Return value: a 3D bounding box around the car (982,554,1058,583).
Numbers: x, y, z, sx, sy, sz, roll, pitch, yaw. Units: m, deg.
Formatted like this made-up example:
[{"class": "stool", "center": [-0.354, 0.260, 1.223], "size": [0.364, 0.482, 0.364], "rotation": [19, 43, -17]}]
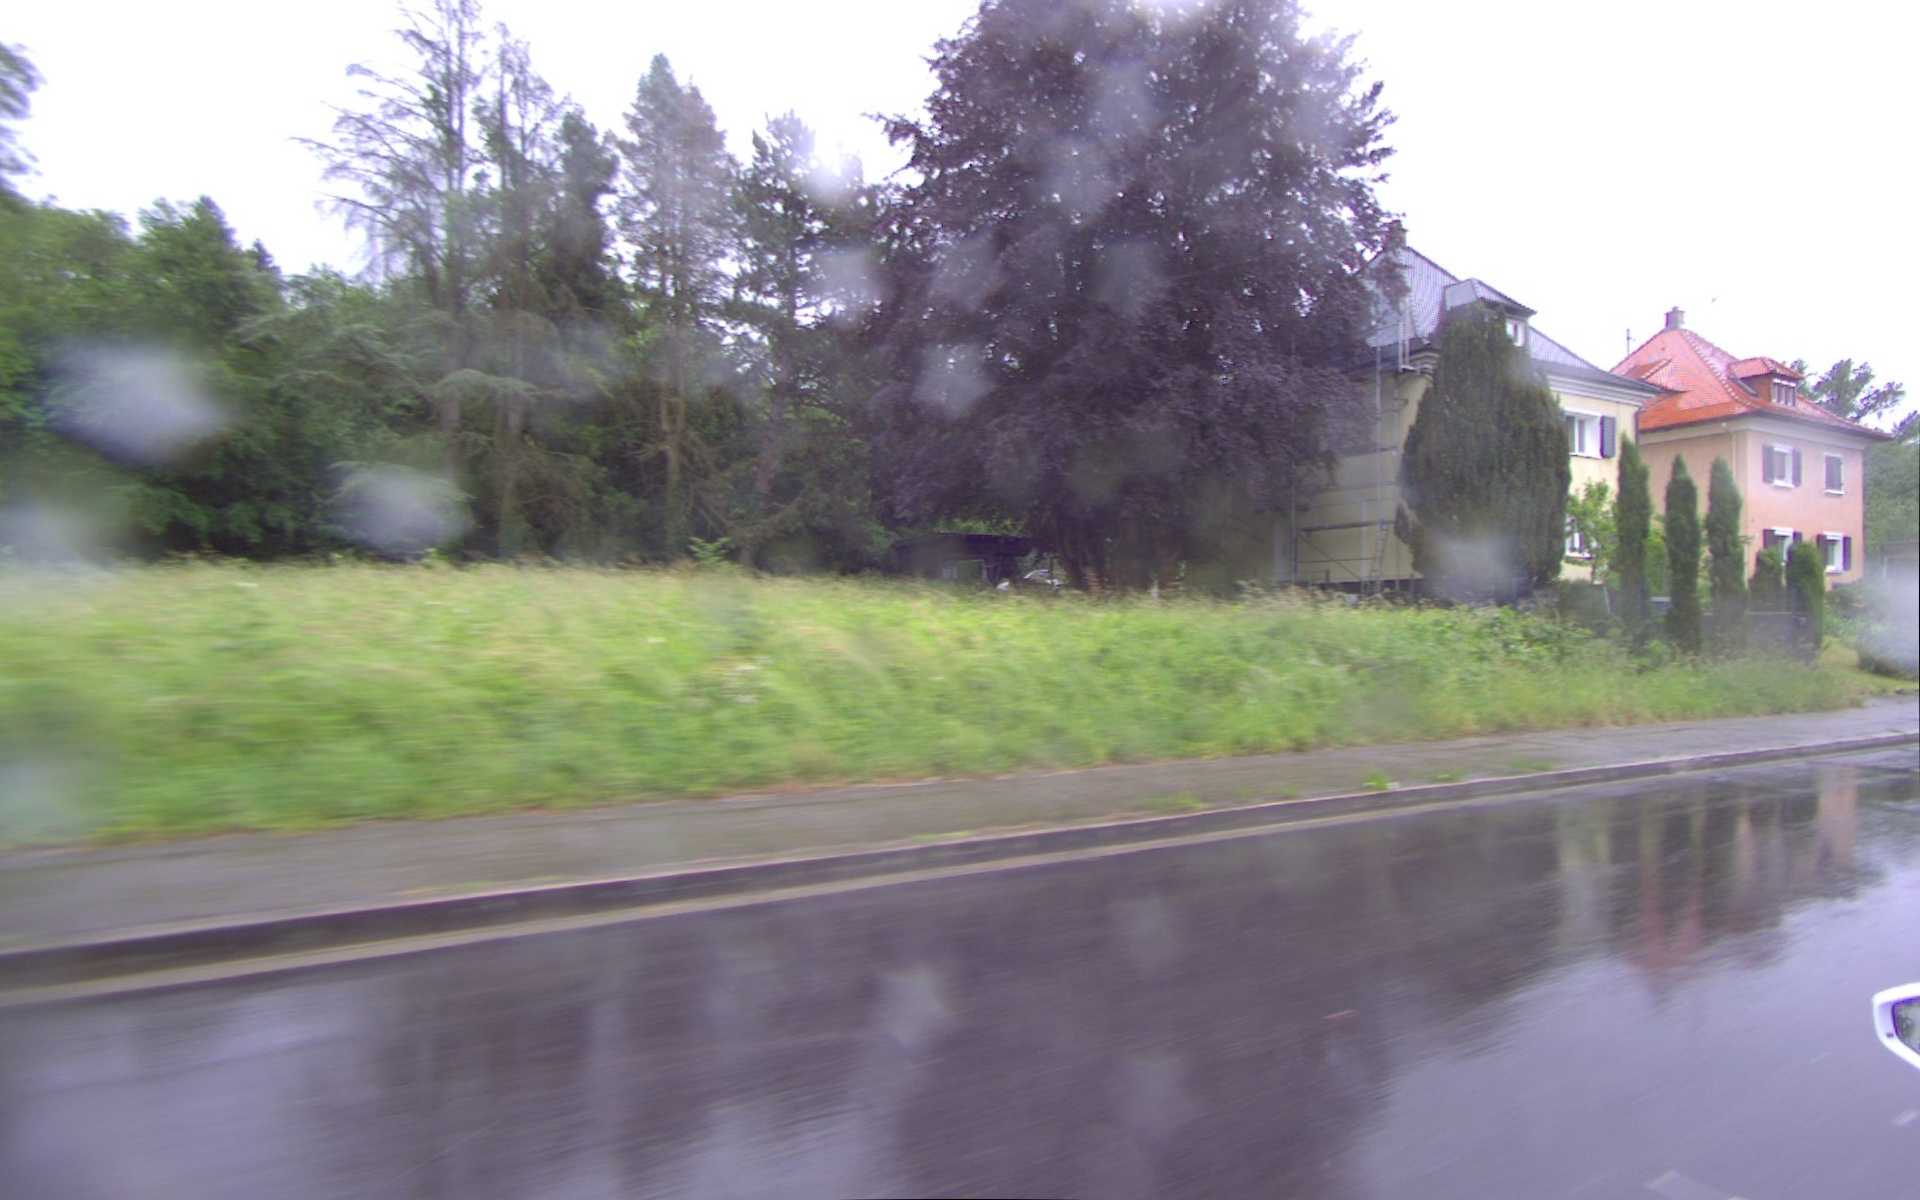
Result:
[{"class": "car", "center": [3.101, -1.606, 52.194], "size": [3.596, 1.428, 1.794], "rotation": [0, 1, -16]}]
